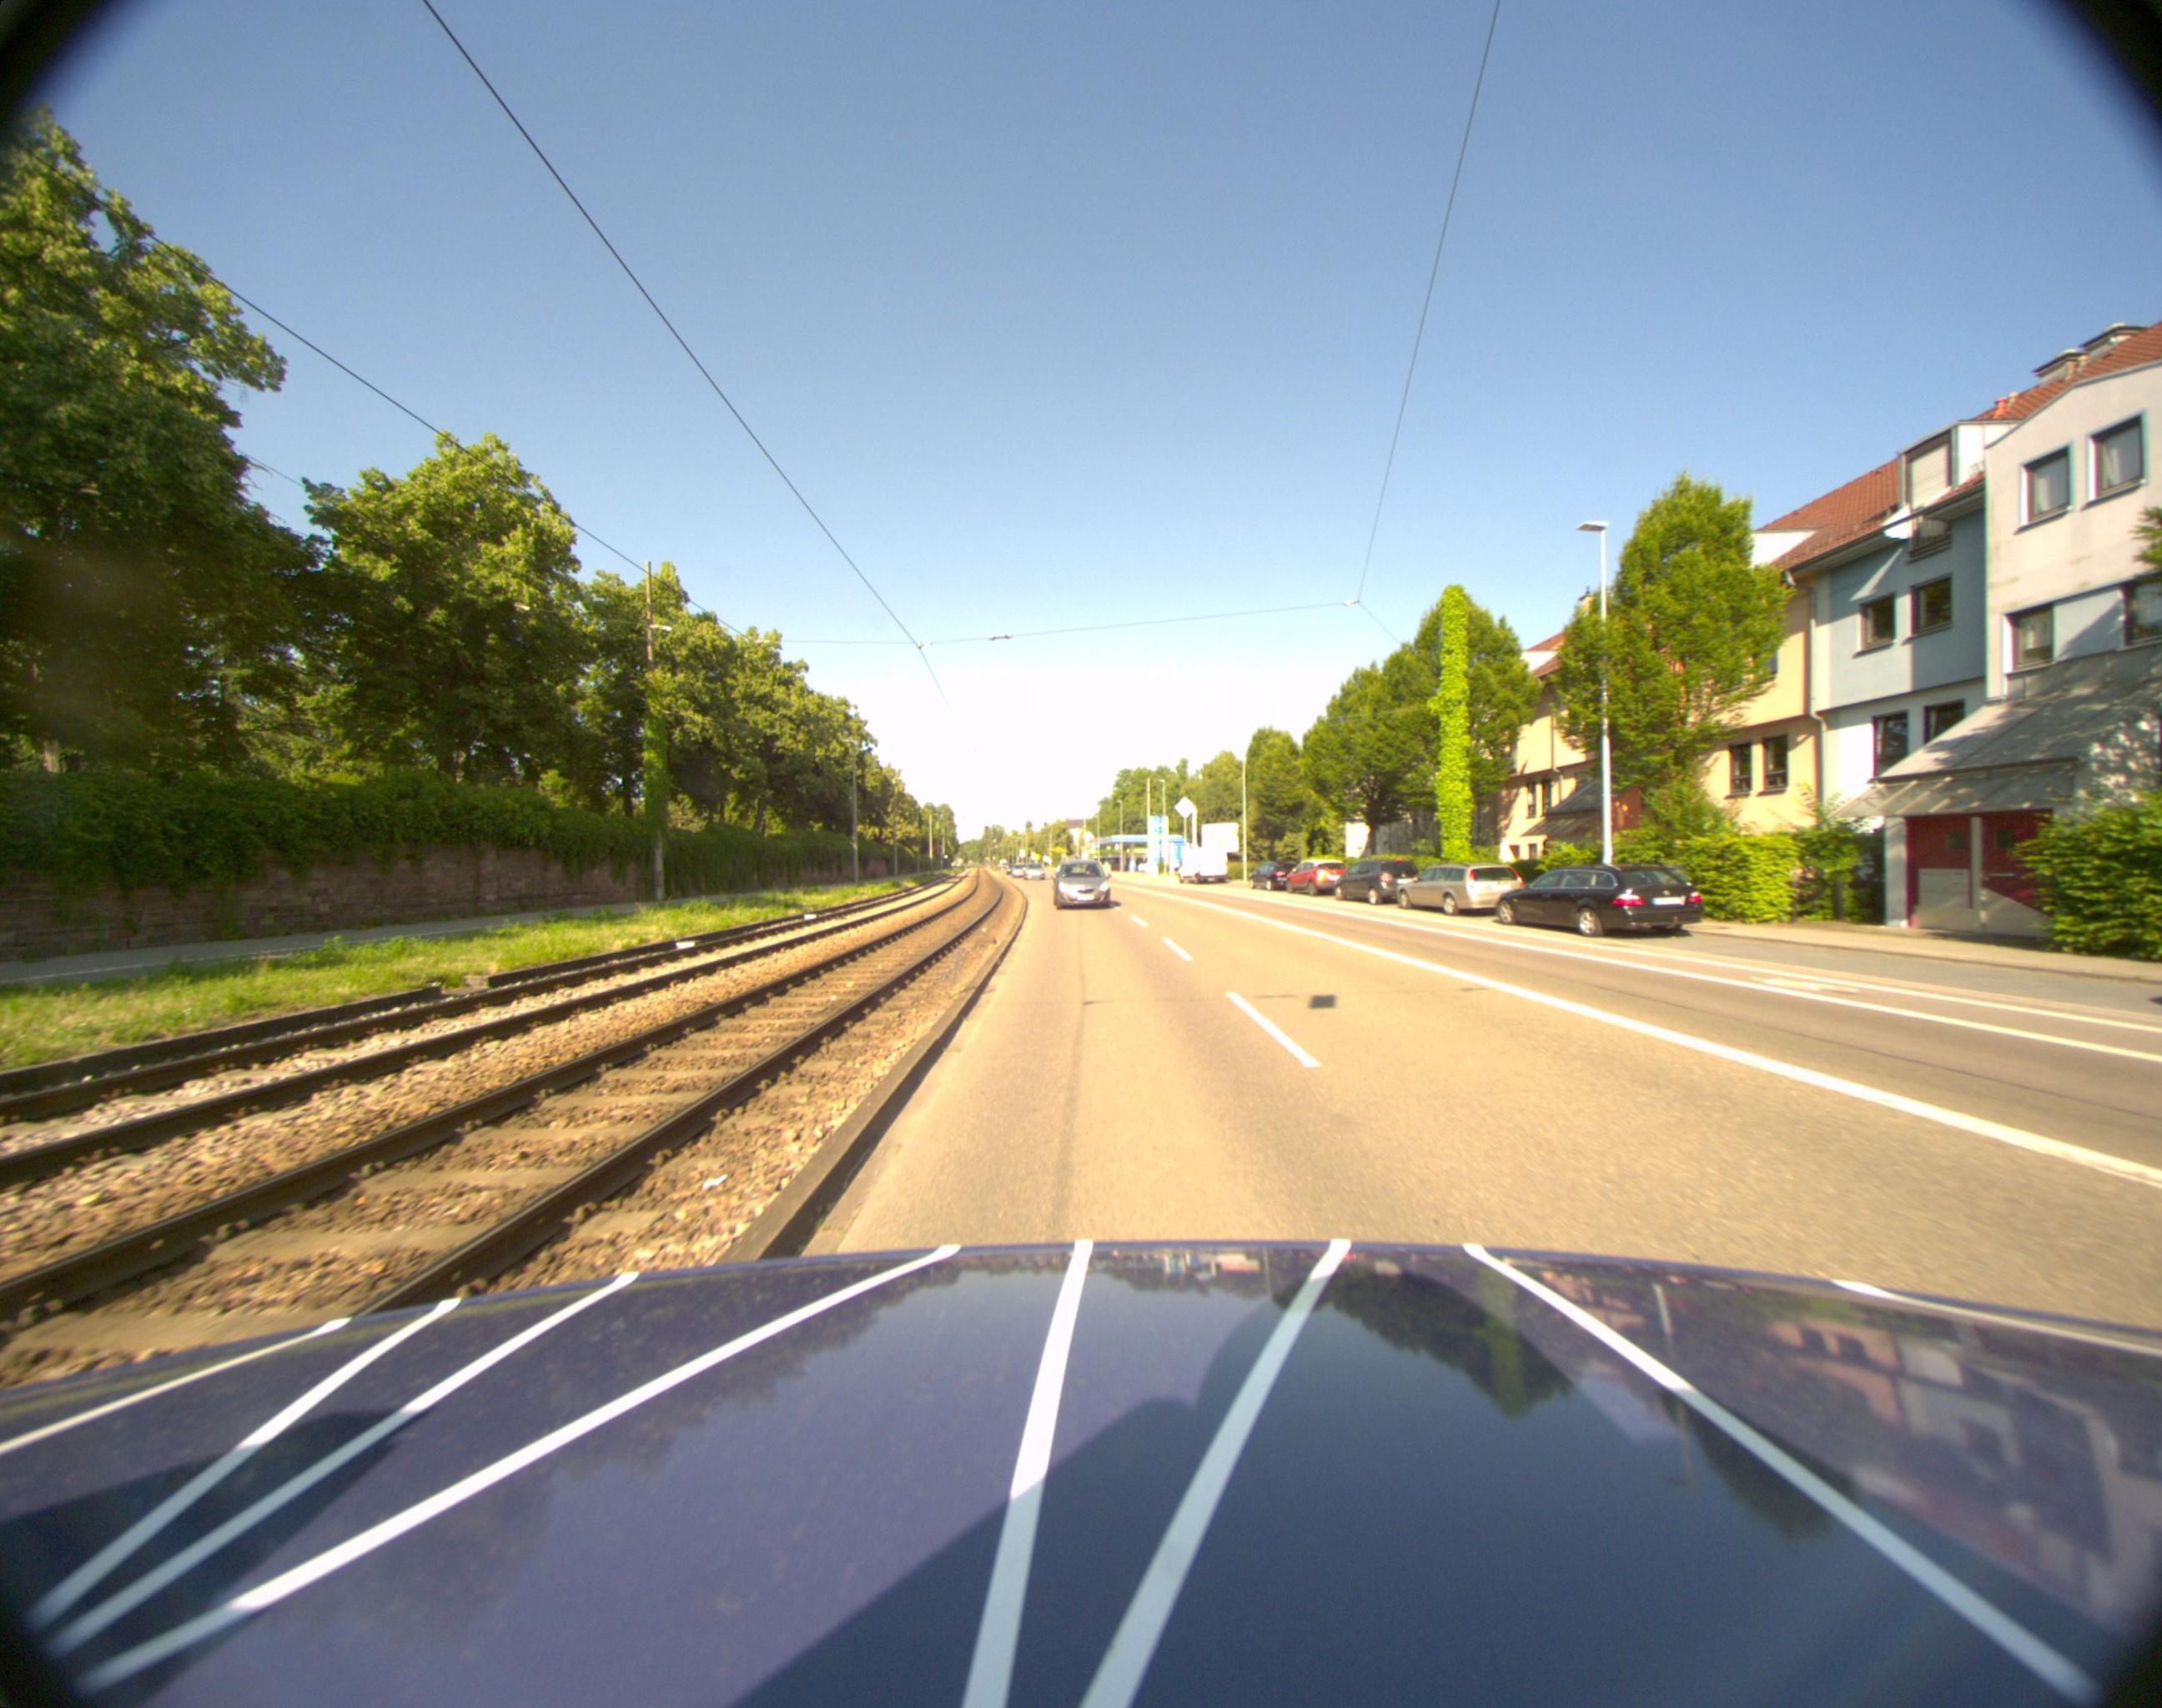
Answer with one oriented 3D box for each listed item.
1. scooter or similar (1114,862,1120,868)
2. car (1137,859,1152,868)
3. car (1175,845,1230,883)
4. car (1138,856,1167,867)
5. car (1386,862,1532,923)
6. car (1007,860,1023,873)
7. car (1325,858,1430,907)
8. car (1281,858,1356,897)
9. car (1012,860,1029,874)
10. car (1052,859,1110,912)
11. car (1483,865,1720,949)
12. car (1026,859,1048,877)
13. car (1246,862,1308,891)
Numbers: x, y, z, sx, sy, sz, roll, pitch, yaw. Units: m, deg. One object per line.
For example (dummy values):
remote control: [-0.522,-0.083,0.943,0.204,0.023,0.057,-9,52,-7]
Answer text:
scooter or similar: [6.755,2.059,142.029,1.031,1.103,0.350,0,0,0]
car: [10.360,1.532,124.562,1.742,1.481,4.272,0,0,-6]
car: [8.578,0.722,54.318,2.159,2.443,6.180,-3,0,-7]
car: [13.361,1.371,141.865,5.085,1.929,1.857,0,0,-3]
car: [11.110,1.043,22.771,1.717,1.463,4.842,-2,1,-3]
car: [-8.670,1.598,99.837,1.711,1.581,3.996,-2,0,-11]
car: [10.809,0.993,28.092,1.768,1.564,4.296,-3,0,-6]
car: [10.551,0.980,34.010,1.767,1.565,4.160,-1,0,-5]
car: [-6.351,1.333,79.556,1.579,1.306,3.997,-2,0,-8]
car: [-0.003,0.995,25.344,1.730,1.573,3.763,-2,-1,0]
car: [11.164,1.033,16.839,1.714,1.463,4.909,-3,0,-2]
car: [-3.933,1.226,67.414,1.711,1.487,3.998,-2,0,-6]
car: [10.091,1.117,39.437,1.657,1.416,4.711,-1,0,-5]
